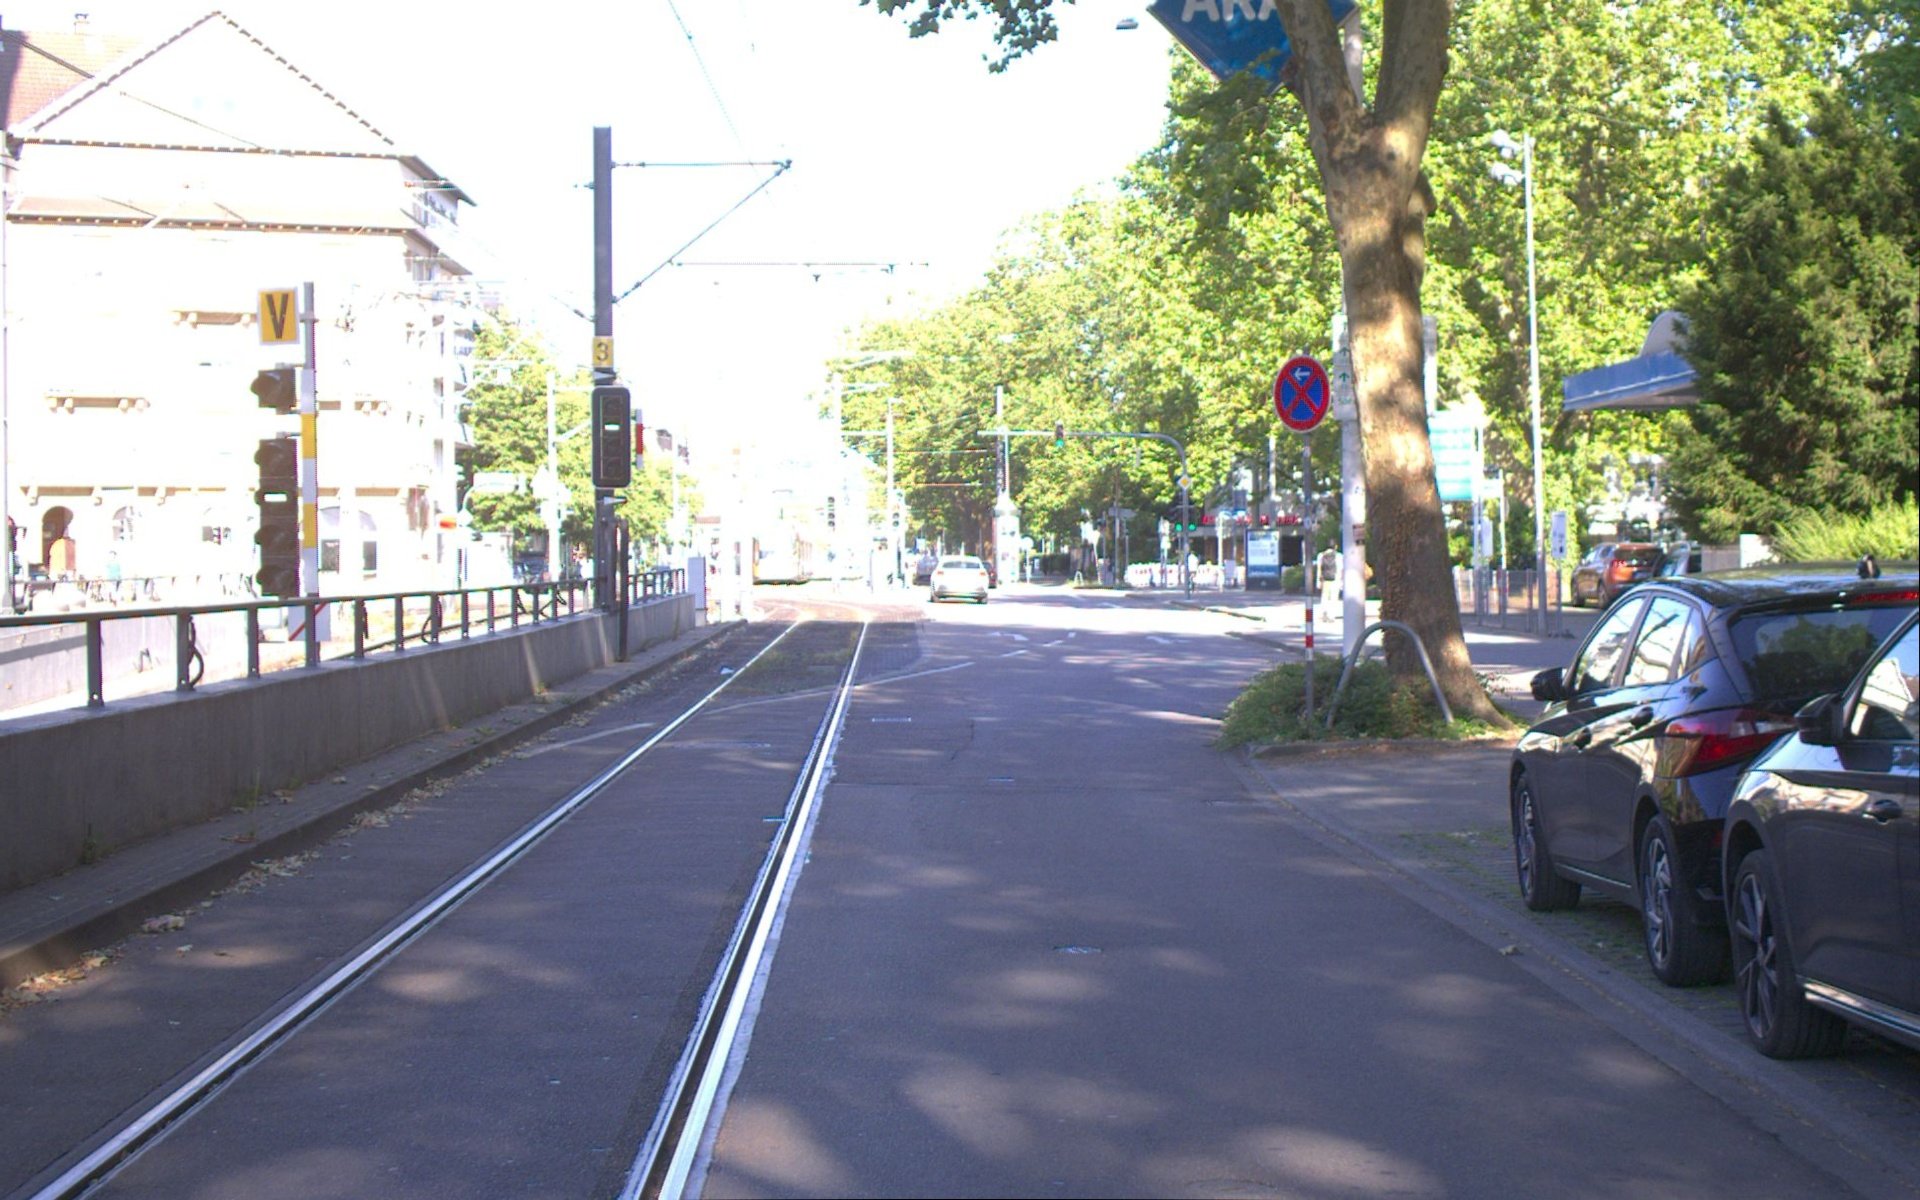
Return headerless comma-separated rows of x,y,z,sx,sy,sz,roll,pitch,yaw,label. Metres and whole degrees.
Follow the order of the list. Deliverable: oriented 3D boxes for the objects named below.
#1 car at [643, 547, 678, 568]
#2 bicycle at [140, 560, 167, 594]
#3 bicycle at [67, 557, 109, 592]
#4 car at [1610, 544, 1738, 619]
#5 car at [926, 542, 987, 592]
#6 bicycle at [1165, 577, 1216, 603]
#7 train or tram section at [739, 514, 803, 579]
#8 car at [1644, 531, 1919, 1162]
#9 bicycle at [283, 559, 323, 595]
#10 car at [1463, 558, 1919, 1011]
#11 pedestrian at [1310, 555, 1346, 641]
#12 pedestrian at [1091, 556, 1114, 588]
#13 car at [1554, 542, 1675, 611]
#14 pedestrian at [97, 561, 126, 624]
-20.547,-2.905,235.825,1.993,1.444,4.840,0,1,-1,car
-31.732,-0.913,135.268,0.821,1.278,2.565,2,1,-9,bicycle
-33.976,-0.992,133.975,0.821,1.278,2.565,2,1,-32,bicycle
14.015,-0.383,67.653,1.567,1.425,4.099,0,1,-2,car
-0.127,-1.044,106.979,1.745,1.457,3.645,2,1,-2,car
9.168,-0.394,136.876,1.198,0.931,2.575,2,1,-15,bicycle
-10.451,-2.957,191.218,2.952,3.398,10.791,2,1,-1,train or tram section
3.178,0.596,9.308,1.616,1.582,4.417,-1,1,-2,car
-21.653,-0.762,113.326,0.631,1.140,2.279,-2,1,6,bicycle
3.123,0.595,13.567,1.551,1.494,4.050,-1,1,-2,car
7.734,-0.041,72.227,0.603,1.770,0.879,-3,0,3,pedestrian
6.493,-1.266,156.258,0.660,1.383,0.830,3,1,31,pedestrian
16.153,-0.596,85.094,1.817,1.596,4.663,0,2,-4,car
-25.816,-0.243,104.571,0.605,1.881,0.757,2,1,2,pedestrian
